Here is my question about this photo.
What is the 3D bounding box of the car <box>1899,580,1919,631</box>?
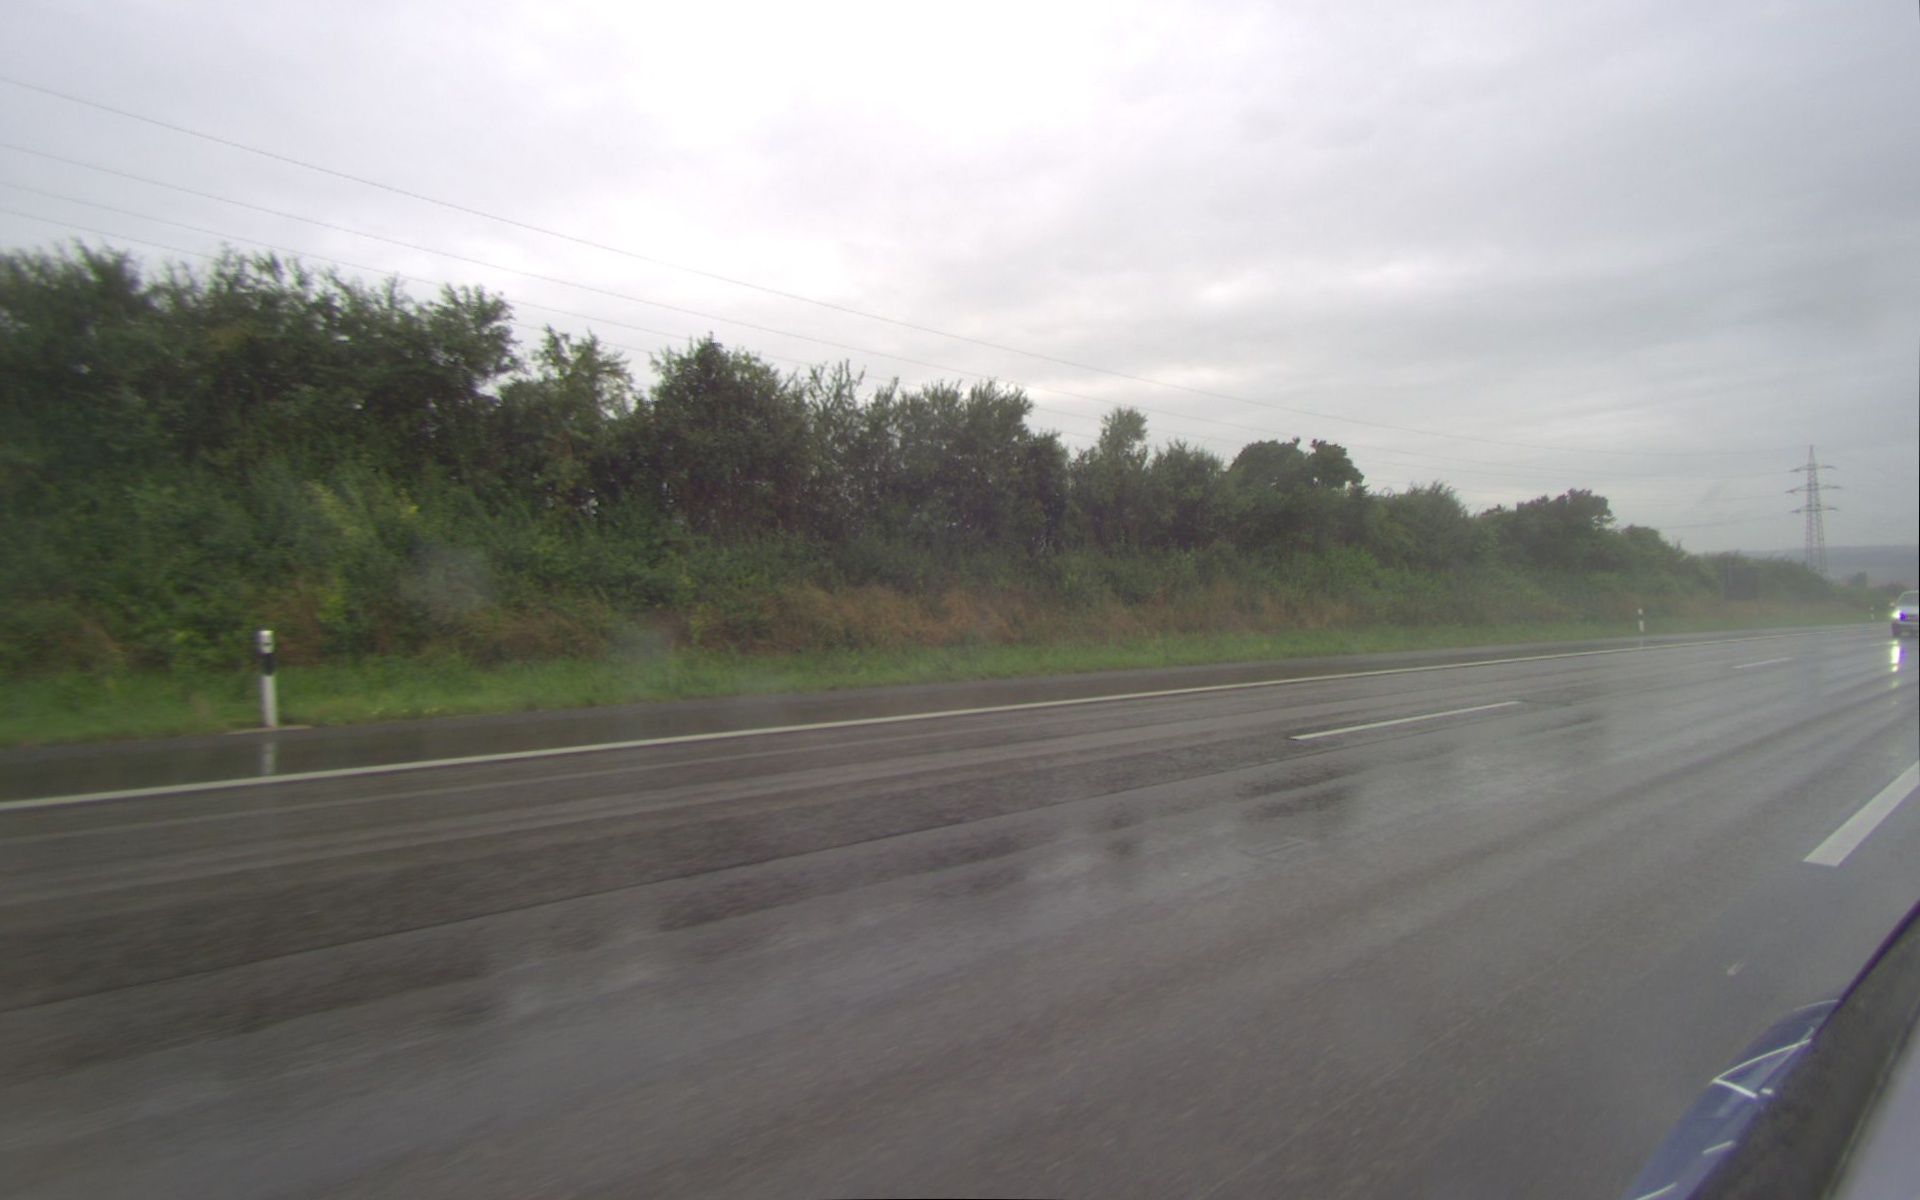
[{"bbox_3d":[40.759,0.231,42.067,3.928,2.039,1.998,0,-1,-39],"label":"car"}]
